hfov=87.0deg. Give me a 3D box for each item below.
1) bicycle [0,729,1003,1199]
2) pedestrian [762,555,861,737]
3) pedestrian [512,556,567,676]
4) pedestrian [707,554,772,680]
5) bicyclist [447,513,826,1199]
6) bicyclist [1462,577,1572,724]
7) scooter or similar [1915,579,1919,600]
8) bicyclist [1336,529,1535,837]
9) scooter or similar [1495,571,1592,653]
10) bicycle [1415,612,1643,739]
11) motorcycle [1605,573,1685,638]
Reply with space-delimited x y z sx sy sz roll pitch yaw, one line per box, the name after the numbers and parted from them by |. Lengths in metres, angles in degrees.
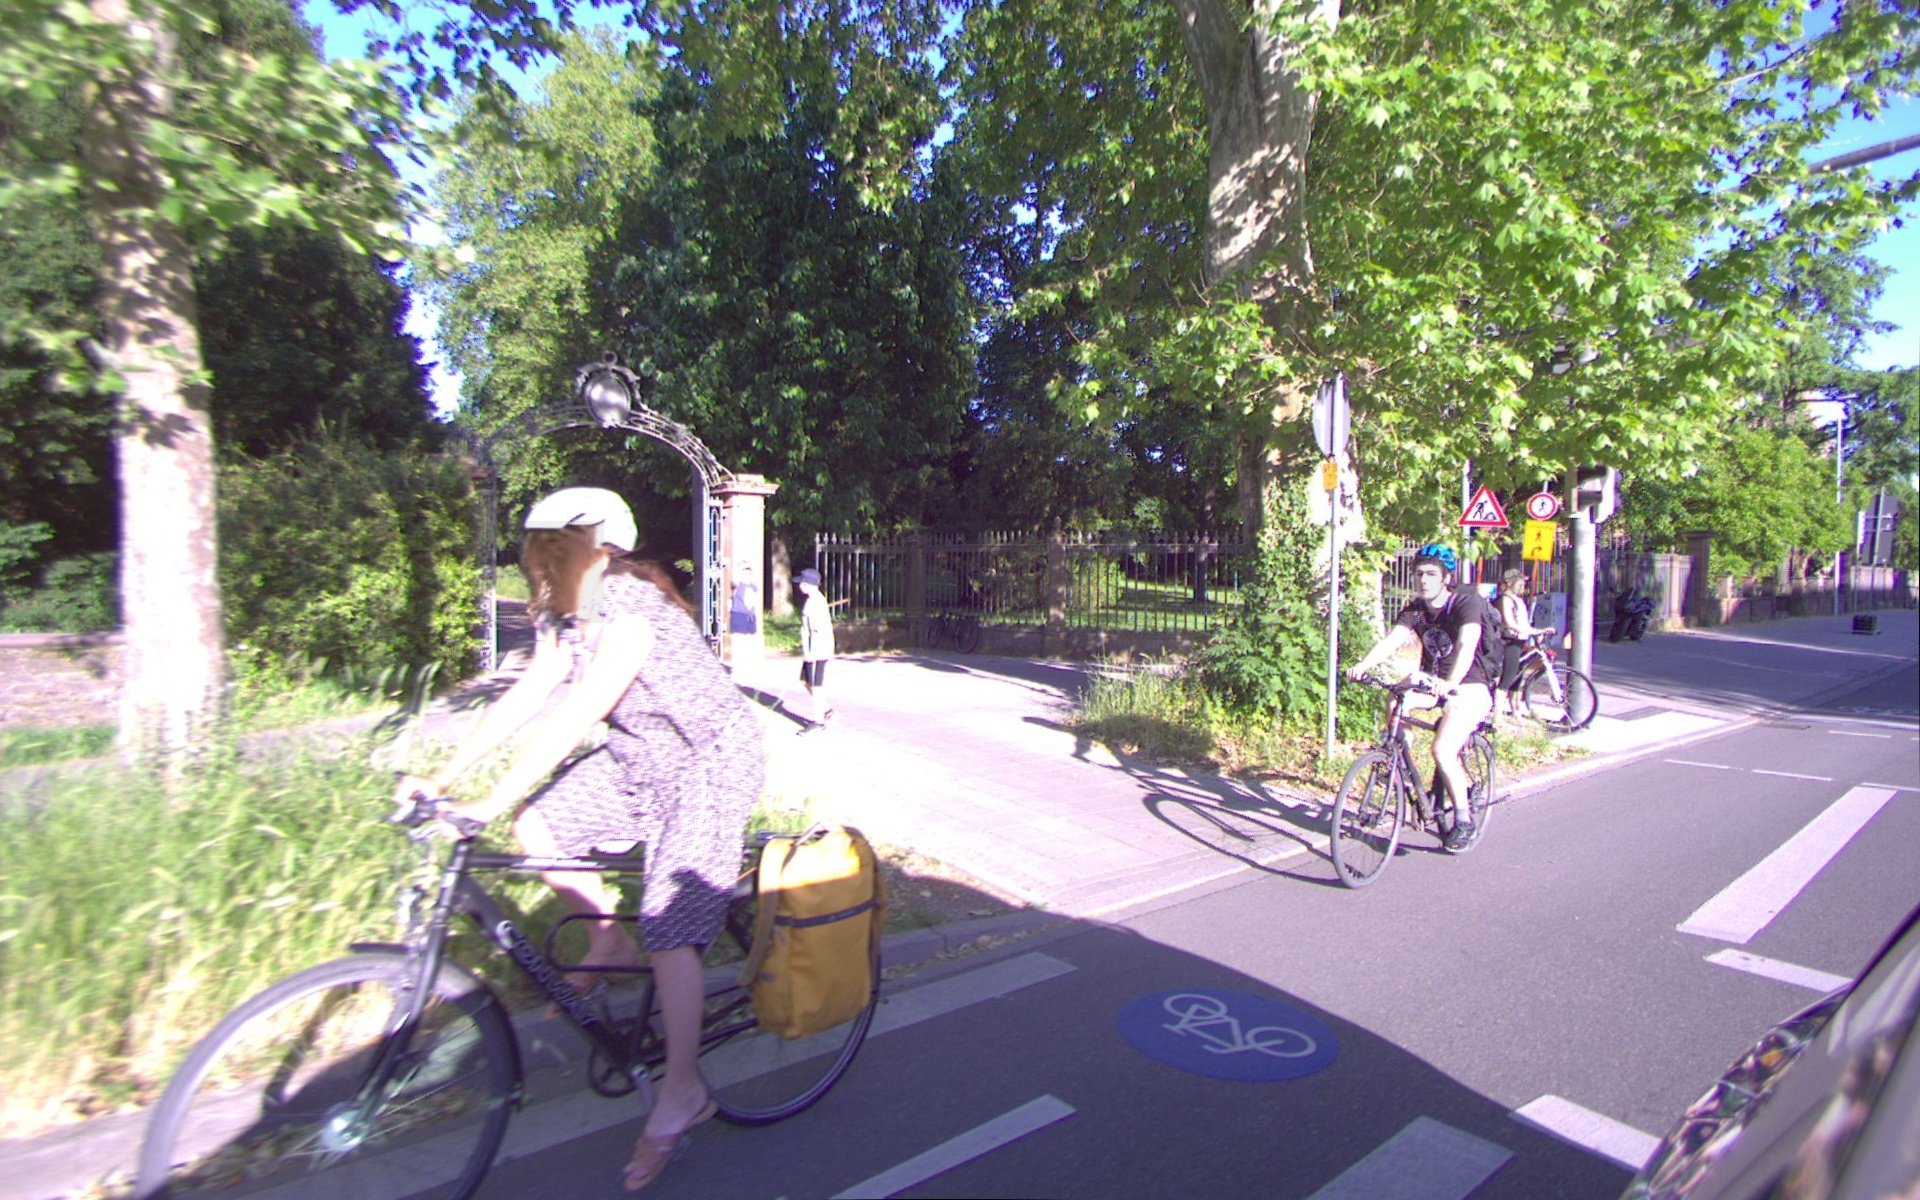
-0.972 1.001 2.502 2.093 1.109 0.696 -1 2 -29 | bicycle
-1.354 0.379 9.160 0.667 1.565 0.693 0 2 -31 | pedestrian
-6.304 0.228 15.161 0.667 1.733 0.692 0 0 -31 | pedestrian
-2.990 0.203 13.714 0.667 1.653 0.693 0 2 -31 | pedestrian
-0.838 0.562 2.553 0.784 1.509 0.696 0 2 -29 | bicyclist
5.886 0.496 10.711 0.682 1.465 0.767 -1 2 -33 | bicyclist
49.386 -0.528 51.889 1.748 1.054 0.415 -2 0 -41 | scooter or similar
2.611 0.390 5.547 0.878 1.520 0.694 -1 2 -43 | bicyclist
10.006 0.168 17.334 1.804 1.269 0.794 -1 6 -40 | scooter or similar
5.922 0.732 10.670 0.682 1.109 1.993 -1 2 -33 | bicycle
14.764 0.092 21.784 2.002 1.309 0.906 -1 2 -40 | motorcycle
